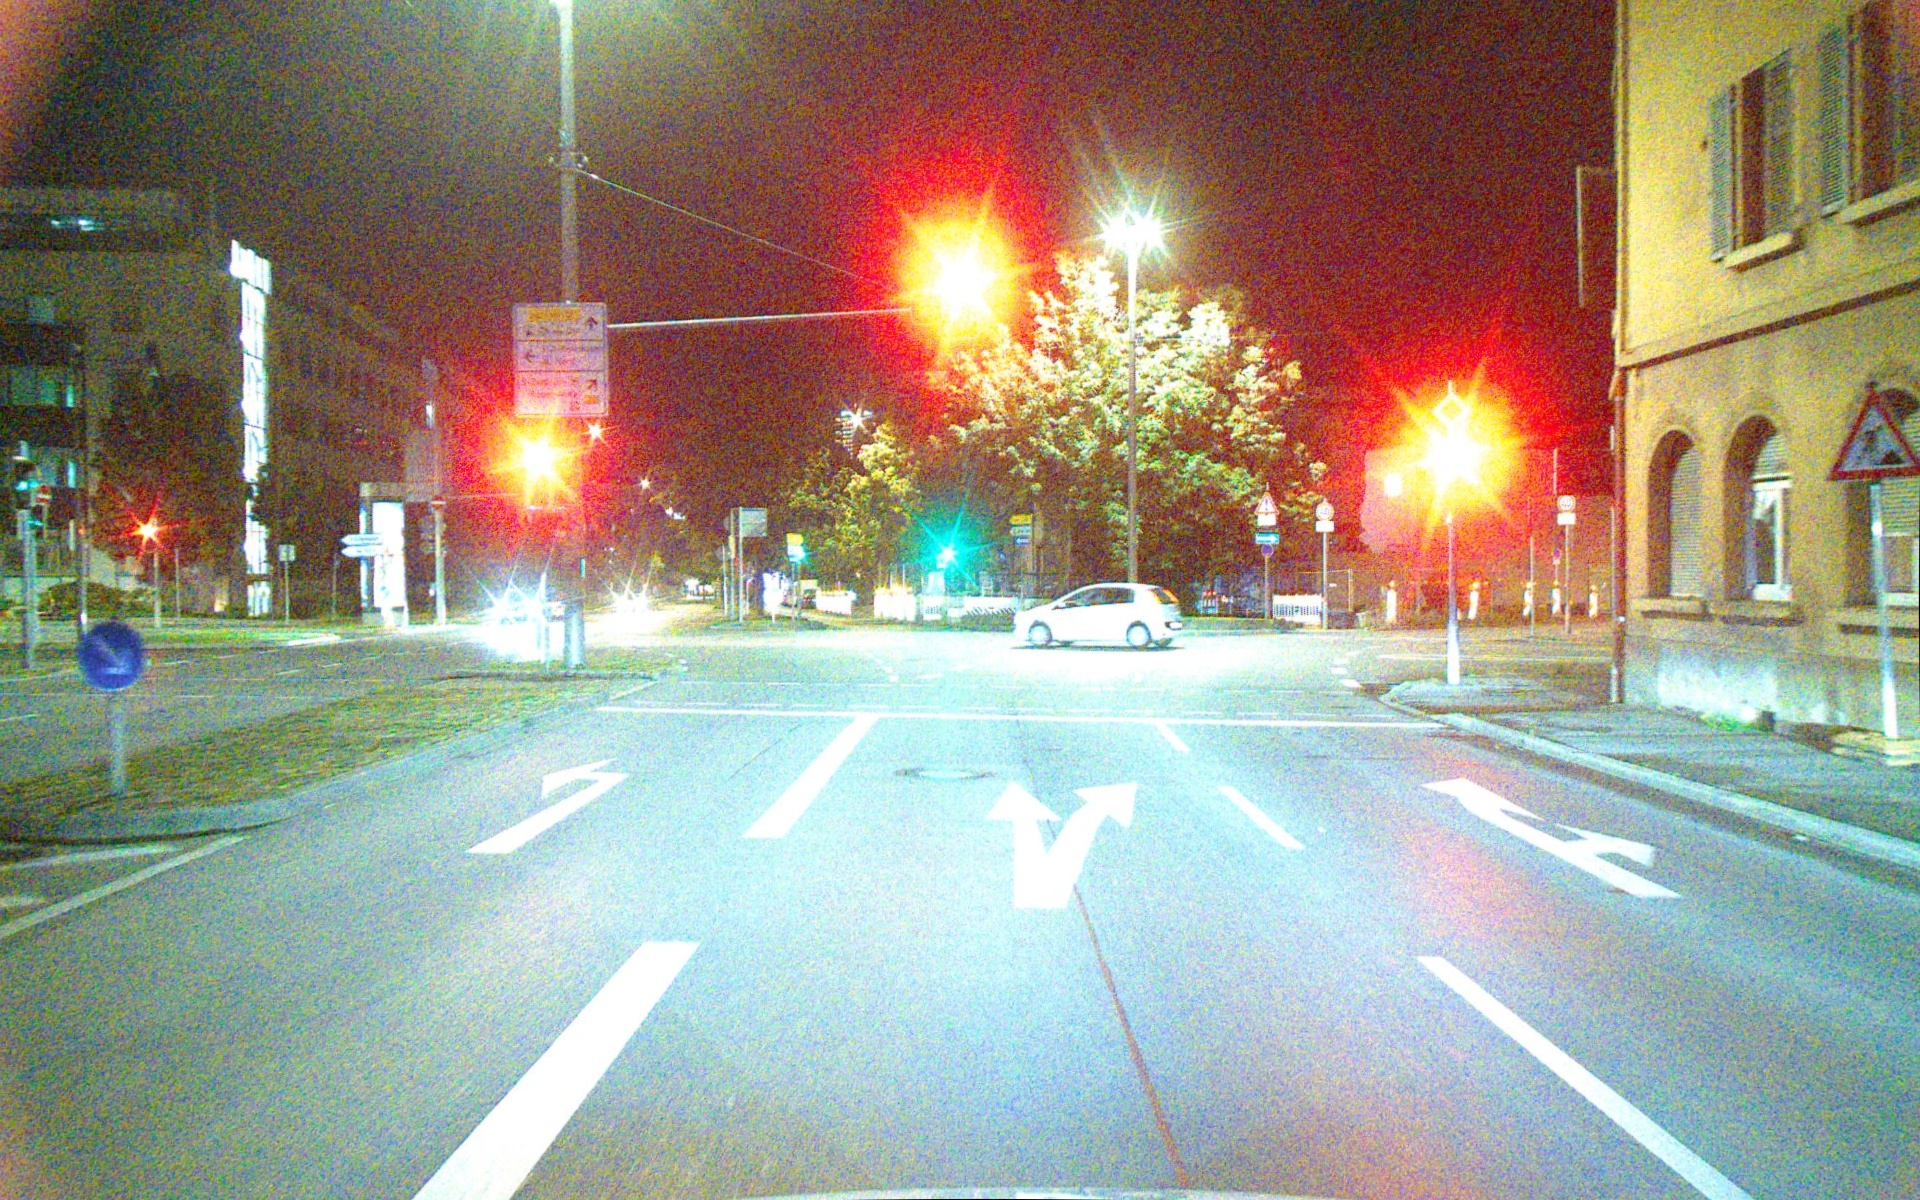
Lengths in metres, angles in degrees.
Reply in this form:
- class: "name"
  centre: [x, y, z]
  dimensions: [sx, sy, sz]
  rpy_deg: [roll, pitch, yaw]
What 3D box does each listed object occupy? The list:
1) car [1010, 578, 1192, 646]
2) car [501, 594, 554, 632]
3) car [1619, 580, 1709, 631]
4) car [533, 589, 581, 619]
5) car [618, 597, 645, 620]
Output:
- class: "car"
  centre: [3.291, 0.284, 38.741]
  dimensions: [3.909, 1.517, 1.707]
  rpy_deg: [-1, 0, 27]
- class: "car"
  centre: [-18.263, 0.533, 70.010]
  dimensions: [1.584, 1.541, 3.995]
  rpy_deg: [0, 0, -6]
- class: "car"
  centre: [23.400, 0.182, 54.949]
  dimensions: [1.702, 1.640, 3.602]
  rpy_deg: [-1, 0, 41]
- class: "car"
  centre: [-18.864, 0.187, 77.486]
  dimensions: [1.724, 1.345, 3.542]
  rpy_deg: [0, 0, -6]
- class: "car"
  centre: [-24.681, 0.644, 124.397]
  dimensions: [1.724, 1.758, 3.542]
  rpy_deg: [0, 0, -6]
